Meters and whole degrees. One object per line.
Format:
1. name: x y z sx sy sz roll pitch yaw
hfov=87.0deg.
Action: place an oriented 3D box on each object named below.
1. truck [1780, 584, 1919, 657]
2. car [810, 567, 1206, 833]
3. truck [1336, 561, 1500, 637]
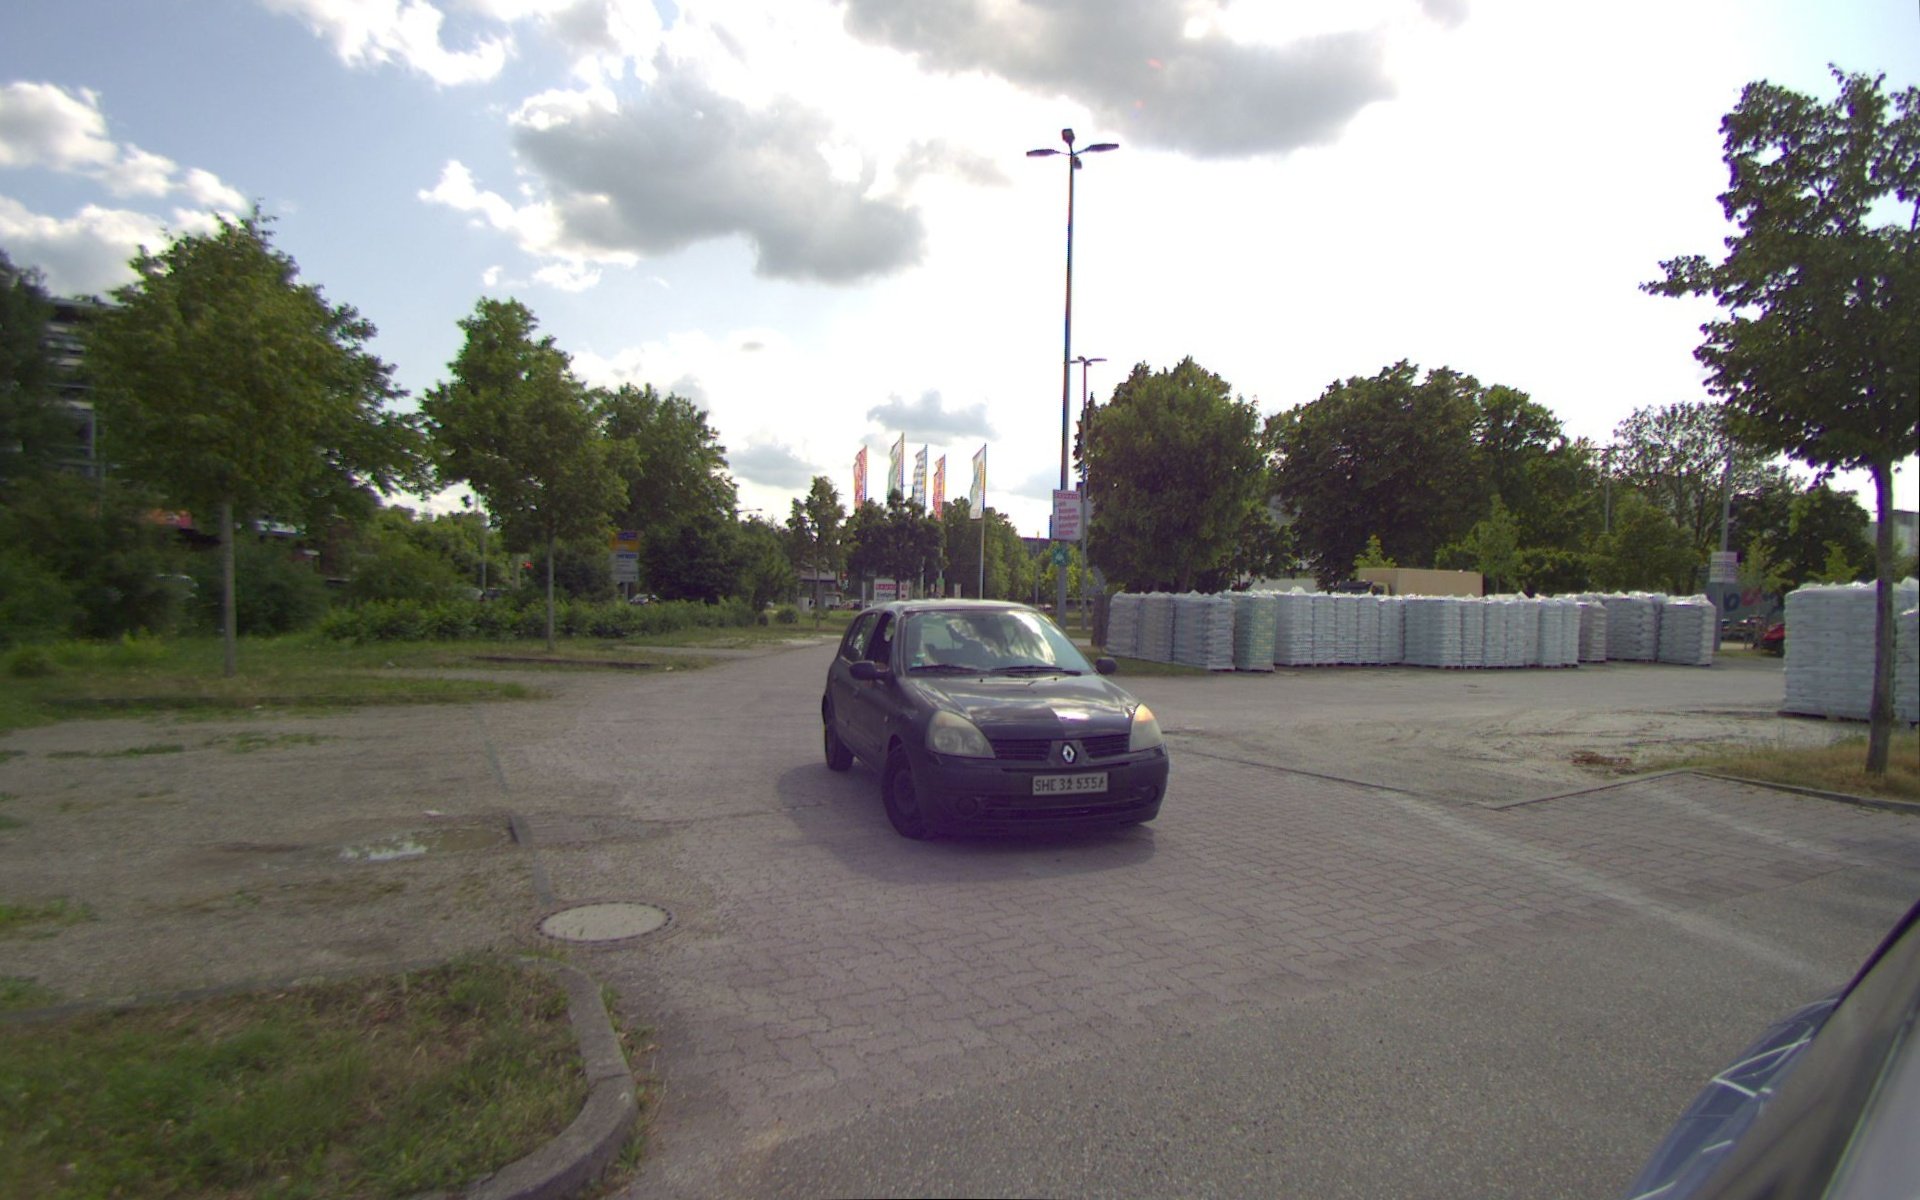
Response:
1. truck: 34.531 0.749 37.963 2.074 2.546 5.451 2 0 -30
2. car: 0.028 0.489 7.135 1.578 1.338 3.795 1 0 -17
3. truck: 23.972 -0.019 52.857 8.850 3.643 2.735 2 0 -26
